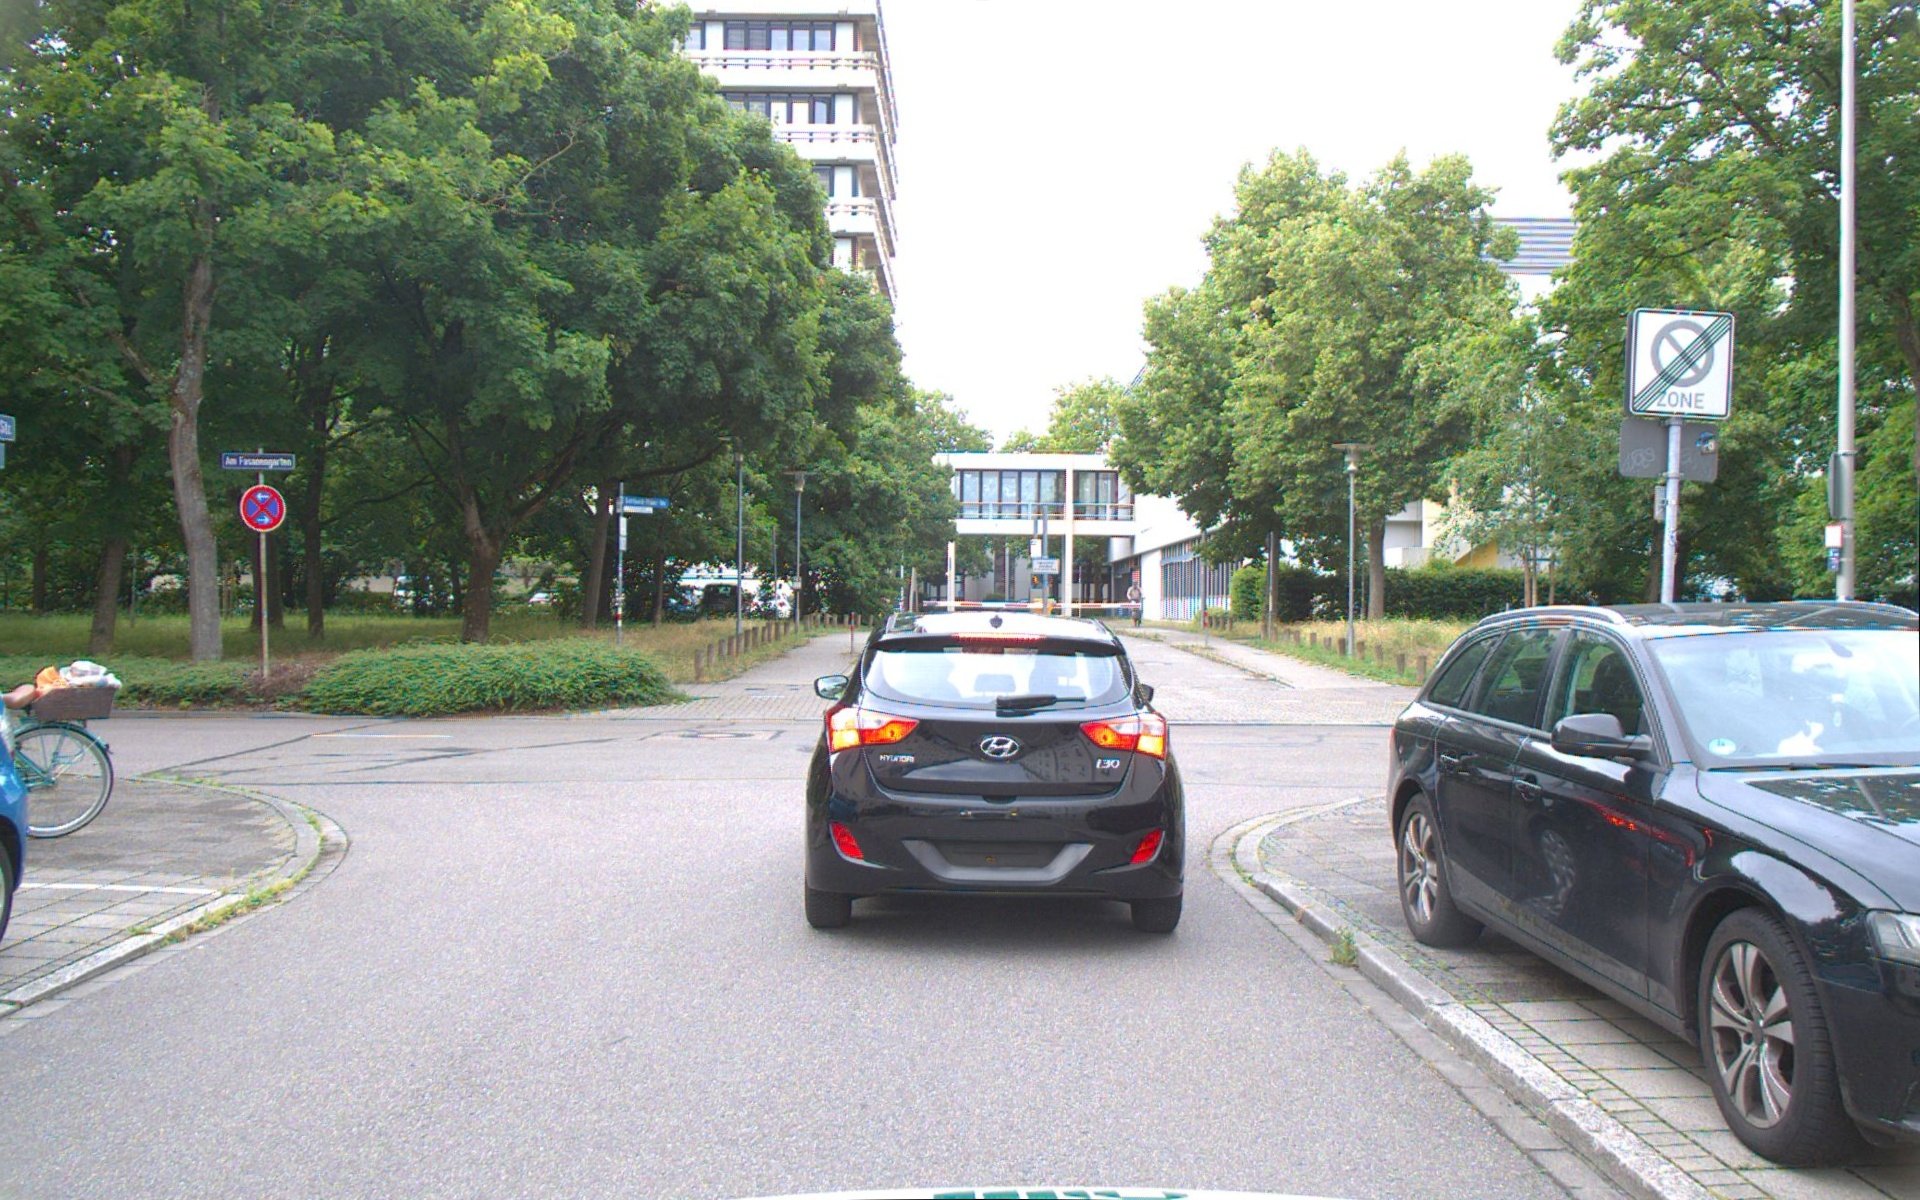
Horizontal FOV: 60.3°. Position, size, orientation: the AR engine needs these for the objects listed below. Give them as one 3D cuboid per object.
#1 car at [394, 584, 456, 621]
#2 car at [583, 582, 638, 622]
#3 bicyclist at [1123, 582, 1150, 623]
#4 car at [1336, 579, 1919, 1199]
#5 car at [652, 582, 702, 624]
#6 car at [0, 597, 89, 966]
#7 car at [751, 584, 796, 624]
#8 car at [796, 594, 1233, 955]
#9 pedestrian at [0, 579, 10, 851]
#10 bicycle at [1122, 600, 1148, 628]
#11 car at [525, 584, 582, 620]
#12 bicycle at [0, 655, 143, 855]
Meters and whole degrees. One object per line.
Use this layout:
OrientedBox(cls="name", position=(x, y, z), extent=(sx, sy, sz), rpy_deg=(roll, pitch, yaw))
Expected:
OrientedBox(cls="car", position=(-24.977, 0.110, 77.394), extent=(1.880, 1.646, 3.996), rpy_deg=(0, 0, -5))
OrientedBox(cls="car", position=(-16.224, 0.117, 76.943), extent=(1.954, 1.758, 3.995), rpy_deg=(0, -2, -5))
OrientedBox(cls="bicyclist", position=(7.157, 0.093, 67.117), extent=(0.996, 1.673, 0.923), rpy_deg=(0, 0, 0))
OrientedBox(cls="car", position=(2.879, 0.685, 5.827), extent=(1.823, 1.488, 4.723), rpy_deg=(-1, 0, -3))
OrientedBox(cls="car", position=(-13.186, 0.159, 77.322), extent=(1.954, 1.825, 3.995), rpy_deg=(0, -2, -5))
OrientedBox(cls="car", position=(-4.700, 0.713, 5.336), extent=(1.695, 1.488, 3.956), rpy_deg=(3, 0, -1))
OrientedBox(cls="car", position=(-8.685, 0.218, 77.458), extent=(1.954, 1.793, 3.996), rpy_deg=(0, -1, -5))
OrientedBox(cls="car", position=(0.134, 0.741, 8.783), extent=(1.809, 1.488, 3.825), rpy_deg=(1, 0, -3))
OrientedBox(cls="pedestrian", position=(-5.869, 0.664, 9.591), extent=(0.562, 1.577, 0.442), rpy_deg=(0, 0, -39))
OrientedBox(cls="bicycle", position=(7.084, 0.560, 67.125), extent=(0.849, 1.093, 2.142), rpy_deg=(0, 0, 0))
OrientedBox(cls="car", position=(-18.891, 0.085, 76.968), extent=(1.954, 1.646, 3.996), rpy_deg=(0, 0, -5))
OrientedBox(cls="bicycle", position=(-5.895, 0.924, 9.843), extent=(1.798, 1.139, 0.531), rpy_deg=(0, 0, -37))
